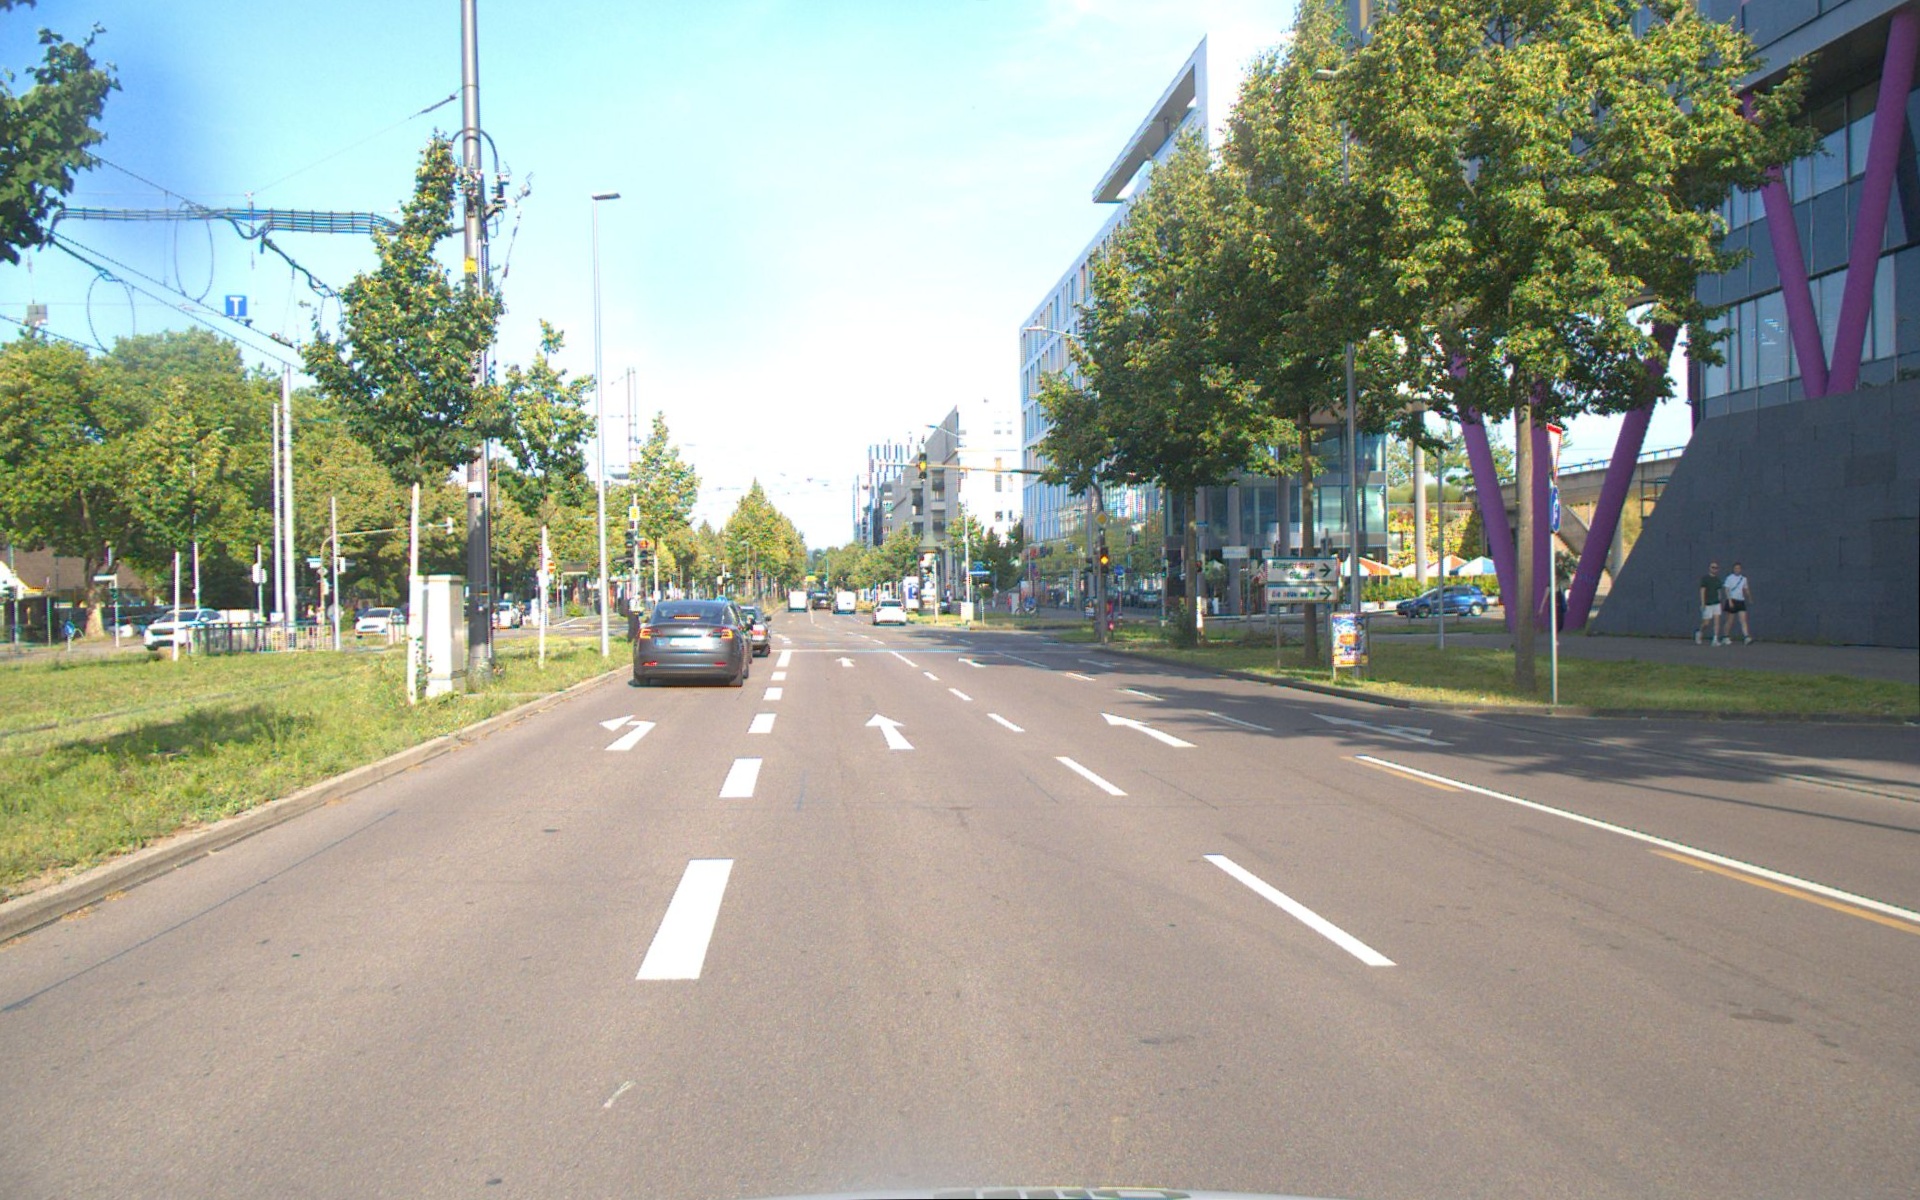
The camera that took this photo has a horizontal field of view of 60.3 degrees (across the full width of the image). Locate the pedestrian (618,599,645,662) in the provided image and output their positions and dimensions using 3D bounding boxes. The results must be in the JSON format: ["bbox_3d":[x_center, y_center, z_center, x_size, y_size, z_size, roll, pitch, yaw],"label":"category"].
[{"bbox_3d":[-9.636,0.894,48.497,0.686,1.823,0.634,0,-1,-5],"label":"pedestrian"}]

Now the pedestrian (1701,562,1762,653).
[{"bbox_3d":[16.363,0.155,35.104,0.753,1.857,0.851,-3,0,-6],"label":"pedestrian"}]

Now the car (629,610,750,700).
[{"bbox_3d":[-4.630,0.902,28.819,1.853,1.410,4.328,1,0,-7],"label":"car"}]

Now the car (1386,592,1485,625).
[{"bbox_3d":[22.636,0.397,78.785,4.104,1.449,1.856,-2,0,-7],"label":"car"}]

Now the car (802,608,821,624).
[{"bbox_3d":[-16.242,1.776,180.639,1.887,1.713,3.994,1,0,-7],"label":"car"}]

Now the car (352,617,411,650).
[{"bbox_3d":[-29.054,1.646,83.165,1.956,1.554,4.305,-1,0,-8],"label":"car"}]

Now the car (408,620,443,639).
[{"bbox_3d":[-48.069,2.653,148.821,1.843,1.587,3.999,-1,-1,0],"label":"car"}]

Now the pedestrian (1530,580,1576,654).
[{"bbox_3d":[13.774,0.384,38.437,0.681,1.667,0.735,-3,0,-6],"label":"pedestrian"}]

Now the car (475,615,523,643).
[{"bbox_3d":[-26.639,1.683,95.661,1.955,1.530,4.088,-1,-1,-5],"label":"car"}]

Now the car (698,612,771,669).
[{"bbox_3d":[-5.768,1.016,42.689,1.730,1.353,4.394,1,0,-6],"label":"car"}]

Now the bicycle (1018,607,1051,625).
[{"bbox_3d":[4.397,0.969,97.821,1.844,1.050,0.769,-1,0,42],"label":"bicycle"}]

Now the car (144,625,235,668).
[{"bbox_3d":[-30.557,1.810,65.715,1.869,1.554,4.436,-1,0,-5],"label":"car"}]

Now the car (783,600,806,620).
[{"bbox_3d":[-14.940,0.880,149.826,1.975,1.713,3.996,1,0,-5],"label":"car"}]

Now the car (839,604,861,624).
[{"bbox_3d":[-9.538,1.210,143.515,1.828,1.713,3.996,1,0,-5],"label":"car"}]

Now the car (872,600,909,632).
[{"bbox_3d":[-3.851,0.870,90.819,1.828,1.713,3.996,1,0,-5],"label":"car"}]

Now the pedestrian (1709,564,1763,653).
[{"bbox_3d":[16.468,0.185,35.114,0.644,1.824,0.785,-3,0,-6],"label":"pedestrian"}]

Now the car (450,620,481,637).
[{"bbox_3d":[-48.227,2.764,161.331,1.843,1.587,3.999,-1,-1,0],"label":"car"}]

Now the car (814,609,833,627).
[{"bbox_3d":[-13.751,1.783,166.833,1.886,1.713,3.996,1,0,-5],"label":"car"}]

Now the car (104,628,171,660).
[{"bbox_3d":[-47.405,2.512,95.376,1.843,1.780,3.999,-1,-1,0],"label":"car"}]

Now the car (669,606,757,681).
[{"bbox_3d":[-5.362,0.912,36.338,1.752,1.505,4.347,1,0,-7],"label":"car"}]

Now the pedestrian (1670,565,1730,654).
[{"bbox_3d":[15.726,0.193,35.173,0.740,1.824,0.842,-3,0,-6],"label":"pedestrian"}]

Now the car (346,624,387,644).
[{"bbox_3d":[-48.171,2.756,134.222,1.843,1.587,3.999,-1,-1,0],"label":"car"}]
